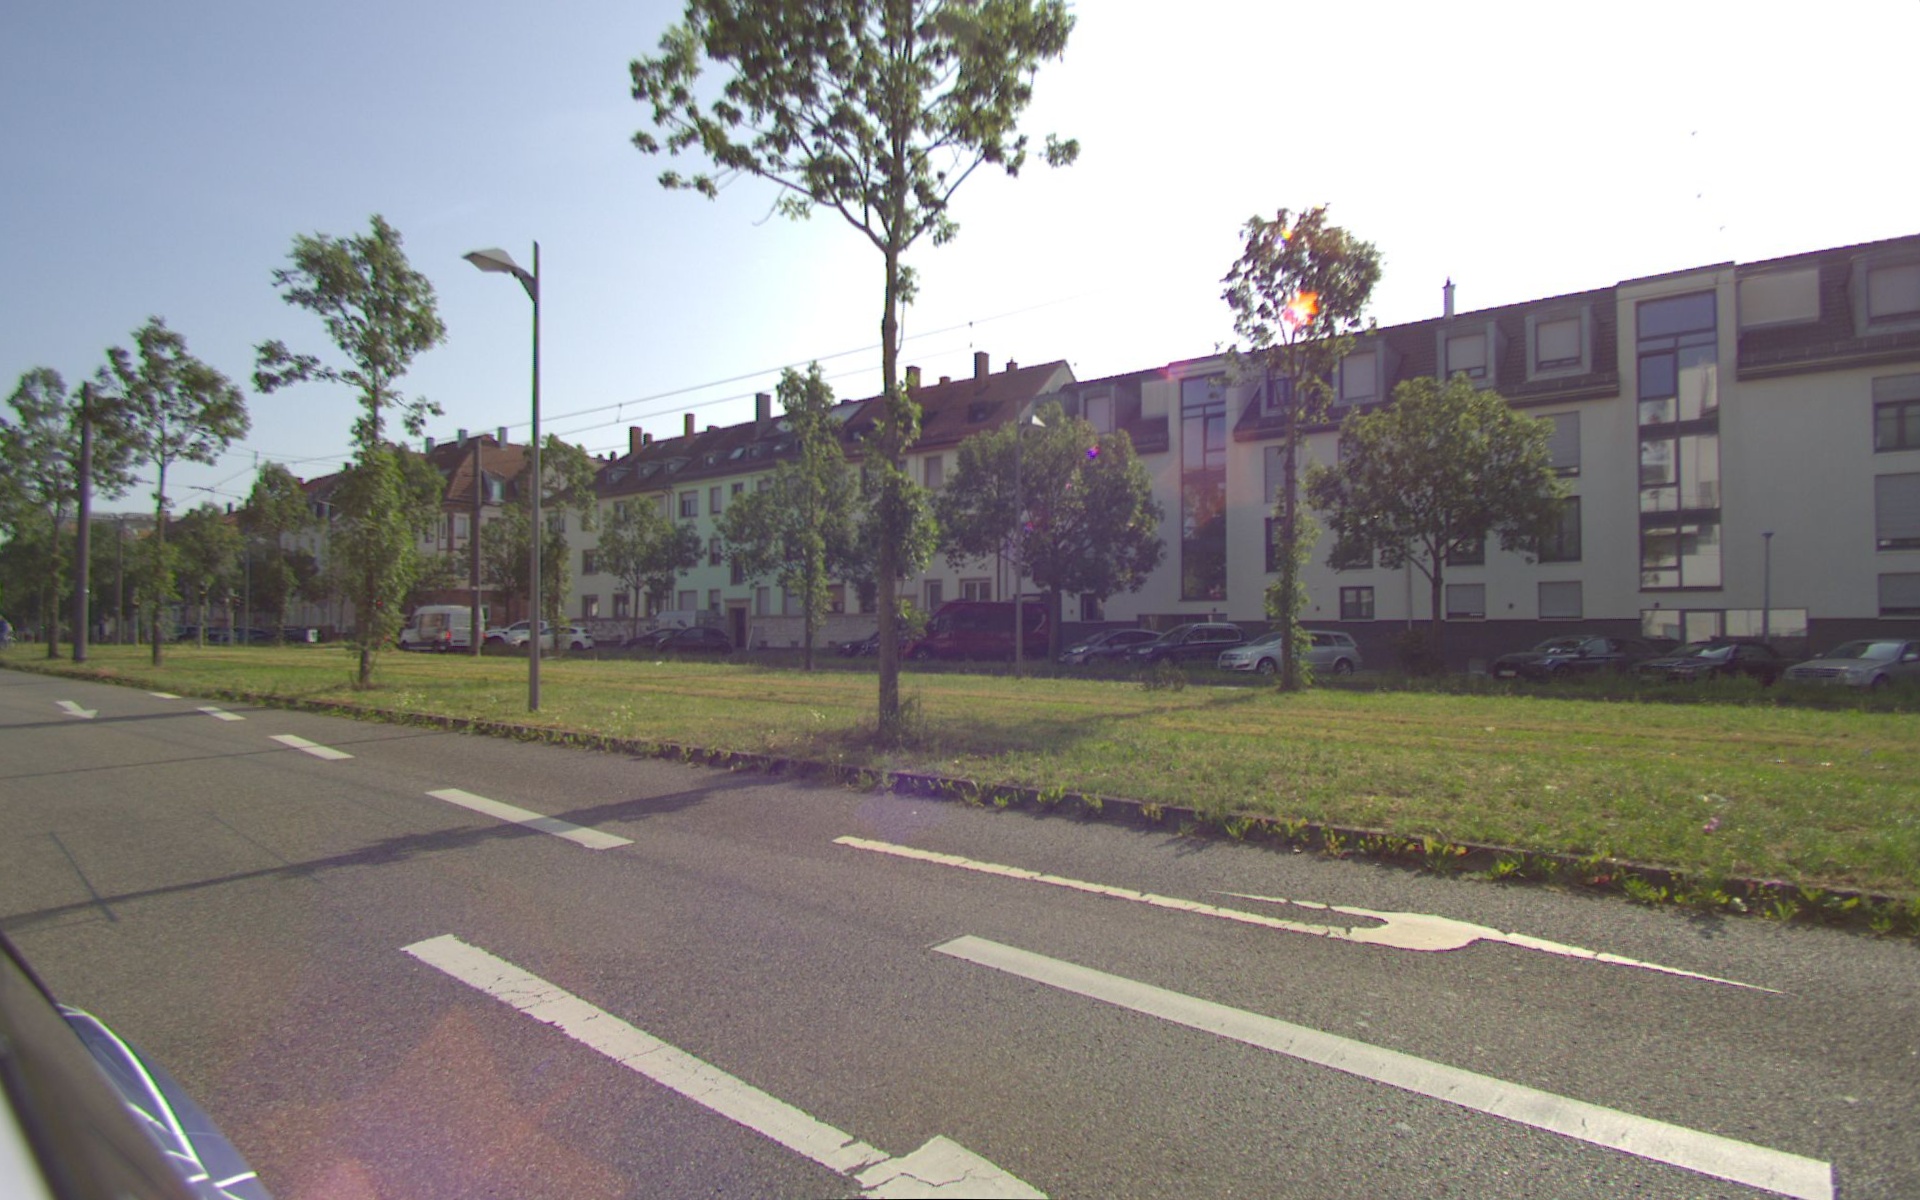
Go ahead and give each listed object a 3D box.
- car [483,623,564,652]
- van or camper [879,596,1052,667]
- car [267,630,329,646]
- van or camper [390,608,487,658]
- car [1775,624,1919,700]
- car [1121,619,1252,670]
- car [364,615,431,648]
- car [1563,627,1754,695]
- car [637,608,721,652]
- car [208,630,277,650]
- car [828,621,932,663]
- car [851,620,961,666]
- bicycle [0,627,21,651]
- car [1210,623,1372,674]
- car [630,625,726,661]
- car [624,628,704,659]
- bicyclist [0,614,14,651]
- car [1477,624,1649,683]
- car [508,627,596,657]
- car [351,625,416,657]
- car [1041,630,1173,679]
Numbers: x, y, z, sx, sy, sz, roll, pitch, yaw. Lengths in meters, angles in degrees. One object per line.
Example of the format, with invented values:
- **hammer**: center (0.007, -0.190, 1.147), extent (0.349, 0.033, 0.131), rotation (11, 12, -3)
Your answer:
- **car**: center (-24.887, 2.108, 57.855), extent (4.030, 1.541, 1.818), rotation (-1, -1, -14)
- **van or camper**: center (0.178, 1.169, 38.255), extent (6.057, 2.566, 2.421), rotation (0, -2, -15)
- **car**: center (-52.655, 3.024, 80.561), extent (3.784, 1.136, 1.774), rotation (-1, 0, -20)
- **van or camper**: center (-27.284, 1.738, 52.834), extent (6.050, 2.493, 2.121), rotation (-1, -4, 38)
- **car**: center (19.900, 1.269, 21.782), extent (4.265, 1.386, 2.006), rotation (-1, -1, -26)
- **car**: center (7.102, 1.355, 31.761), extent (3.657, 1.445, 1.647), rotation (-1, -1, -19)
- **car**: center (-46.566, 2.581, 83.720), extent (6.496, 2.583, 2.327), rotation (-1, -1, 37)
- **car**: center (16.427, 1.378, 23.795), extent (3.930, 1.386, 1.933), rotation (-1, -1, -25)
- **car**: center (-16.804, 1.780, 60.406), extent (5.573, 2.482, 1.974), rotation (-1, -1, 40)
- **car**: center (-60.912, 3.384, 86.000), extent (4.437, 1.451, 2.006), rotation (-1, -1, -20)
- **car**: center (-3.352, 1.722, 42.103), extent (4.084, 1.520, 1.874), rotation (0, 2, -13)
- **car**: center (-2.154, 1.688, 40.160), extent (4.084, 1.628, 1.874), rotation (0, 2, -13)
- **bicycle**: center (-48.026, 1.970, 50.405), extent (1.763, 1.154, 0.578), rotation (-1, -1, -34)
- **car**: center (9.700, 1.393, 29.681), extent (4.324, 1.330, 1.739), rotation (-1, -1, -19)
- **car**: center (-13.286, 2.029, 47.888), extent (4.278, 1.541, 2.005), rotation (-1, 0, -12)
- **car**: center (-14.604, 2.140, 50.118), extent (3.714, 1.353, 1.778), rotation (-1, 0, -14)
- **bicyclist**: center (-48.063, 1.627, 50.443), extent (1.168, 1.864, 0.913), rotation (-1, -1, -34)
- **car**: center (15.356, 1.323, 25.775), extent (3.930, 1.386, 1.842), rotation (1, -2, -25)
- **car**: center (-22.570, 2.312, 56.112), extent (4.293, 1.486, 1.863), rotation (-1, -1, -14)
- **car**: center (-32.685, 2.321, 57.342), extent (4.157, 1.751, 1.797), rotation (-1, -4, 40)
- **car**: center (4.887, 1.790, 33.733), extent (3.932, 1.431, 1.787), rotation (-1, -1, -16)
